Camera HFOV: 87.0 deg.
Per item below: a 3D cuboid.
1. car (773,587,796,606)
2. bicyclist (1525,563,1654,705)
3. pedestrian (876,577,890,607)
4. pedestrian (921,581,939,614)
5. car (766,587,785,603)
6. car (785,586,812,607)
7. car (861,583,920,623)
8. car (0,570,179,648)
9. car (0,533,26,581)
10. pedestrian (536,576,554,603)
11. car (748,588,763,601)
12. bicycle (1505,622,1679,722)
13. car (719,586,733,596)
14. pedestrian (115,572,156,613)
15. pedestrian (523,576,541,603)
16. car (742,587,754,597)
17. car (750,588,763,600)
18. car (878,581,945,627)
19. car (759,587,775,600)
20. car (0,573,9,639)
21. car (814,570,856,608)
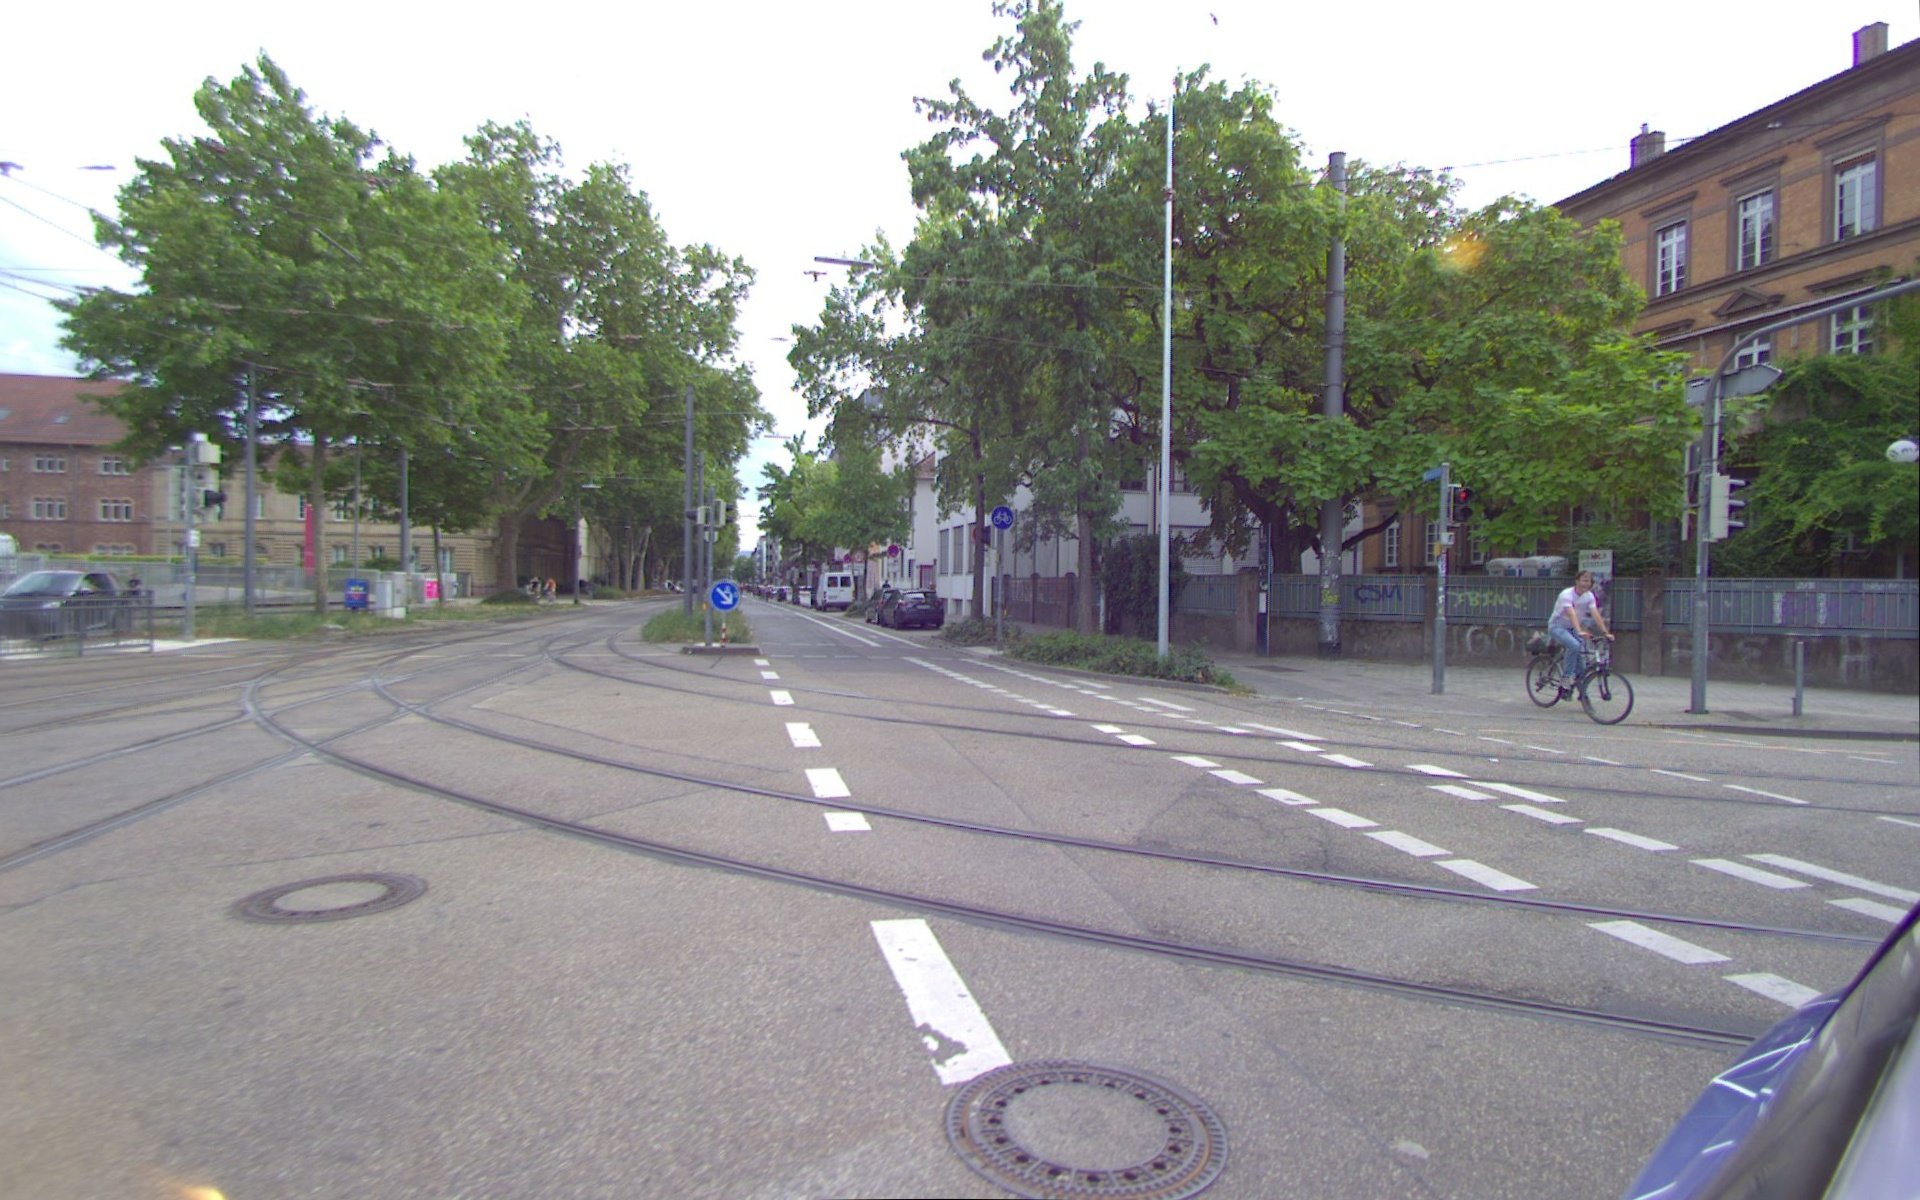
[{"bbox_3d":[-17.917,-0.366,103.403,2.054,1.830,4.430,1,1,-13],"label":"car"},{"bbox_3d":[8.387,0.414,13.549,0.732,1.782,1.256,1,2,-13],"label":"bicyclist"},{"bbox_3d":[-4.764,-0.492,62.705,0.753,1.803,0.767,1,1,-12],"label":"pedestrian"},{"bbox_3d":[-1.522,-0.122,51.314,0.753,1.671,0.767,1,1,-12],"label":"pedestrian"},{"bbox_3d":[-23.214,-0.636,127.210,2.054,1.830,4.430,1,1,-13],"label":"car"},{"bbox_3d":[-14.659,-0.317,91.530,2.054,1.830,4.430,1,1,-13],"label":"car"},{"bbox_3d":[-2.958,0.094,42.284,1.723,1.555,4.430,1,1,-13],"label":"car"},{"bbox_3d":[-20.028,0.141,22.874,1.799,1.586,4.428,1,1,-8],"label":"car"},{"bbox_3d":[-51.959,-2.241,51.647,5.775,2.429,2.574,0,0,-15],"label":"car"},{"bbox_3d":[-29.188,-0.740,71.237,0.820,1.888,1.252,1,0,-3],"label":"pedestrian"},{"bbox_3d":[-30.159,-0.871,149.442,2.054,1.889,4.429,1,1,-12],"label":"car"},{"bbox_3d":[8.386,0.911,13.552,0.735,1.099,2.021,1,2,-12],"label":"bicycle"},{"bbox_3d":[-36.184,-1.389,156.288,1.808,1.510,3.755,0,0,-17],"label":"car"},{"bbox_3d":[-32.806,-0.306,40.298,0.866,1.589,0.981,1,1,-6],"label":"pedestrian"},{"bbox_3d":[-30.137,-0.720,71.246,0.820,1.888,1.177,1,0,-3],"label":"pedestrian"},{"bbox_3d":[-39.767,-1.460,189.760,2.054,1.889,4.430,1,1,-13],"label":"car"},{"bbox_3d":[-32.791,-0.970,163.045,2.054,1.889,4.429,1,1,-12],"label":"car"},{"bbox_3d":[-1.856,0.117,37.361,1.700,1.581,4.430,1,1,-13],"label":"car"},{"bbox_3d":[-26.510,-0.914,138.898,2.054,1.830,4.430,1,1,-13],"label":"car"},{"bbox_3d":[-22.549,0.156,21.056,1.958,1.523,4.429,1,1,-11],"label":"car"},{"bbox_3d":[-7.611,-0.657,61.479,2.054,2.217,4.430,1,1,-13],"label":"car"}]
